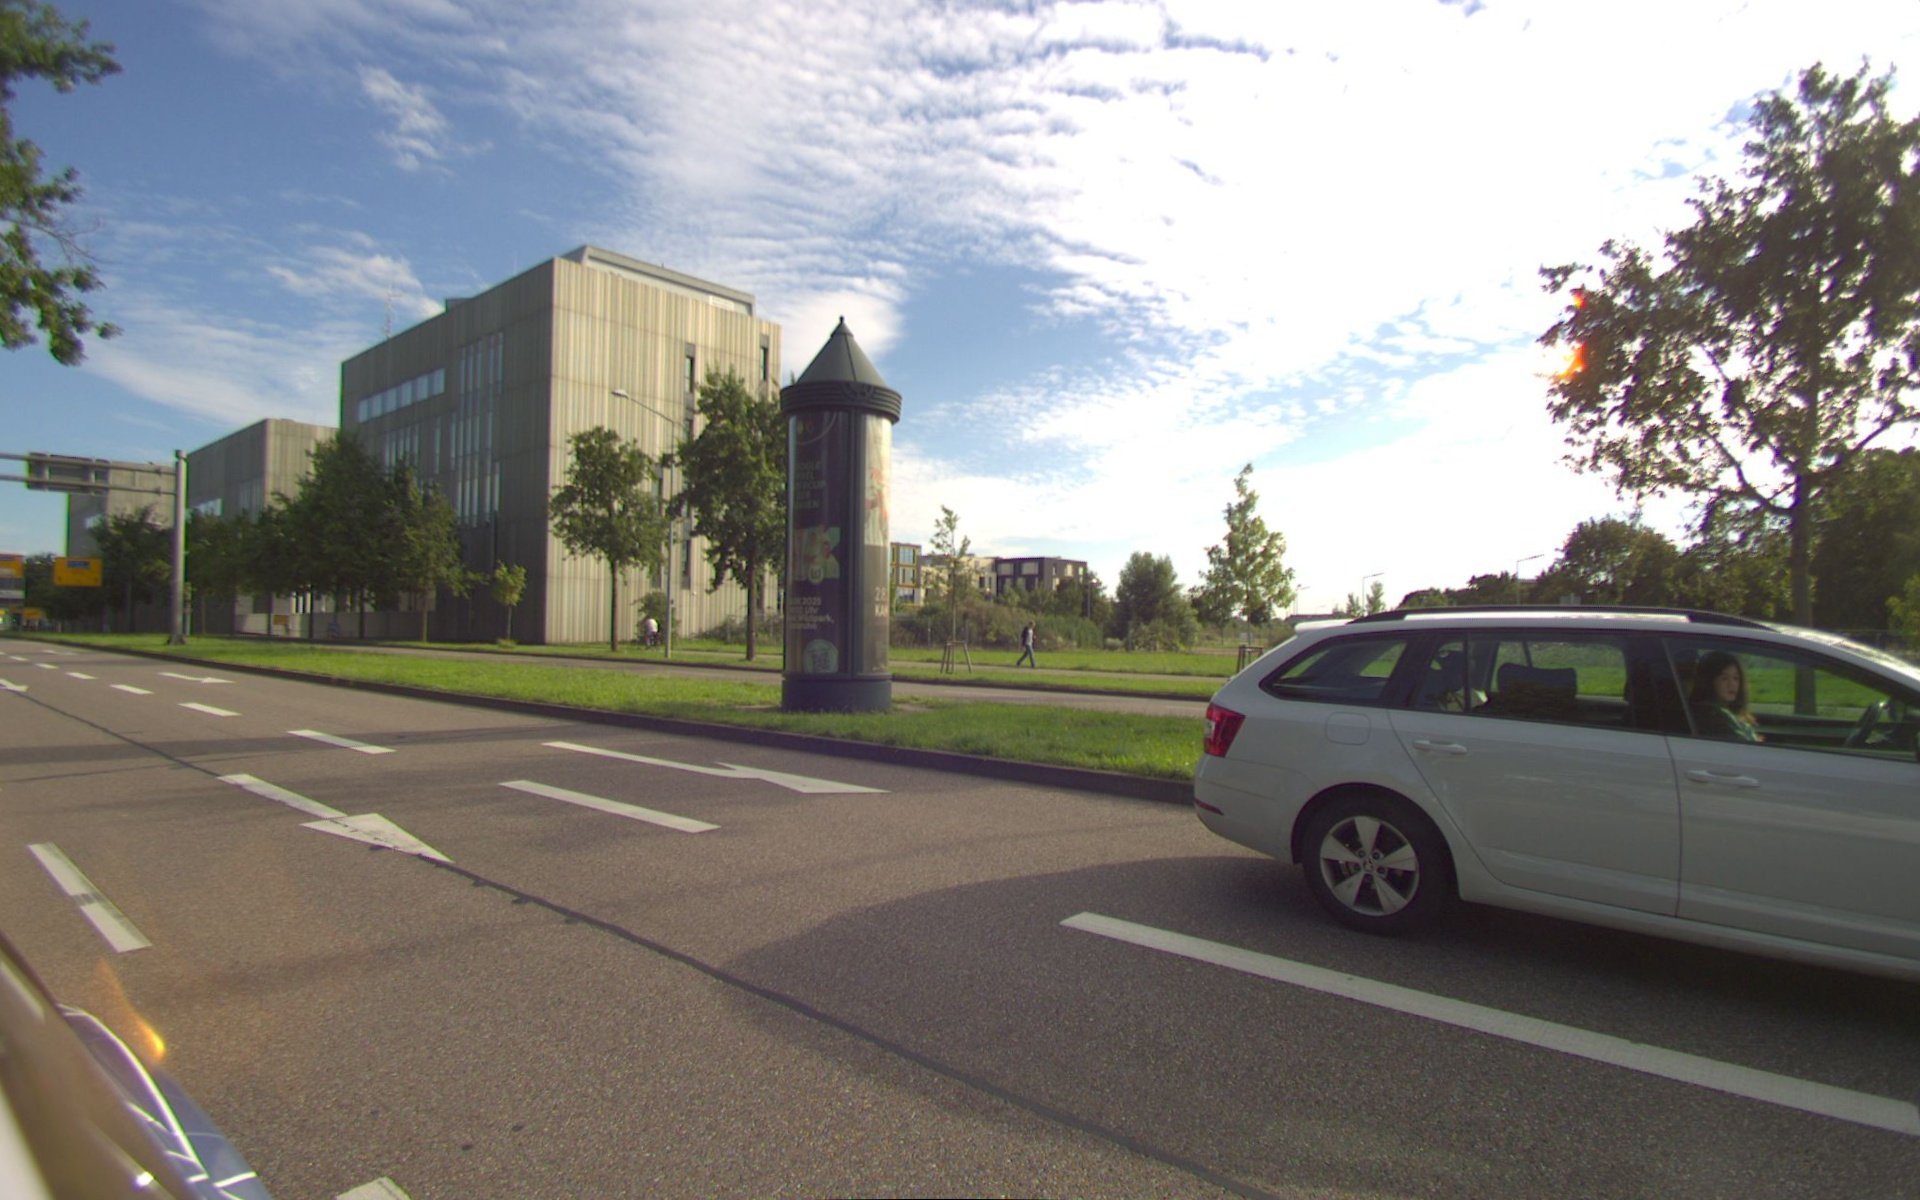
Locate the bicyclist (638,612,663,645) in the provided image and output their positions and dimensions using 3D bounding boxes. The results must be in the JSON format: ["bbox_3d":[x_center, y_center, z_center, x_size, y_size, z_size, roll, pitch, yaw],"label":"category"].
[{"bbox_3d":[-14.791,1.360,48.293,0.989,1.537,0.698,-1,-3,41],"label":"bicyclist"}]

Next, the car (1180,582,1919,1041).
[{"bbox_3d":[3.348,0.709,4.289,4.479,1.510,1.681,-1,-1,41],"label":"car"}]

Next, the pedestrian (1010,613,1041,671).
[{"bbox_3d":[2.308,1.480,35.831,0.867,2.029,0.667,-1,-3,41],"label":"pedestrian"}]

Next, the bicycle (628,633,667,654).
[{"bbox_3d":[-14.940,2.093,48.380,1.910,0.989,0.885,-1,-3,41],"label":"bicycle"}]
